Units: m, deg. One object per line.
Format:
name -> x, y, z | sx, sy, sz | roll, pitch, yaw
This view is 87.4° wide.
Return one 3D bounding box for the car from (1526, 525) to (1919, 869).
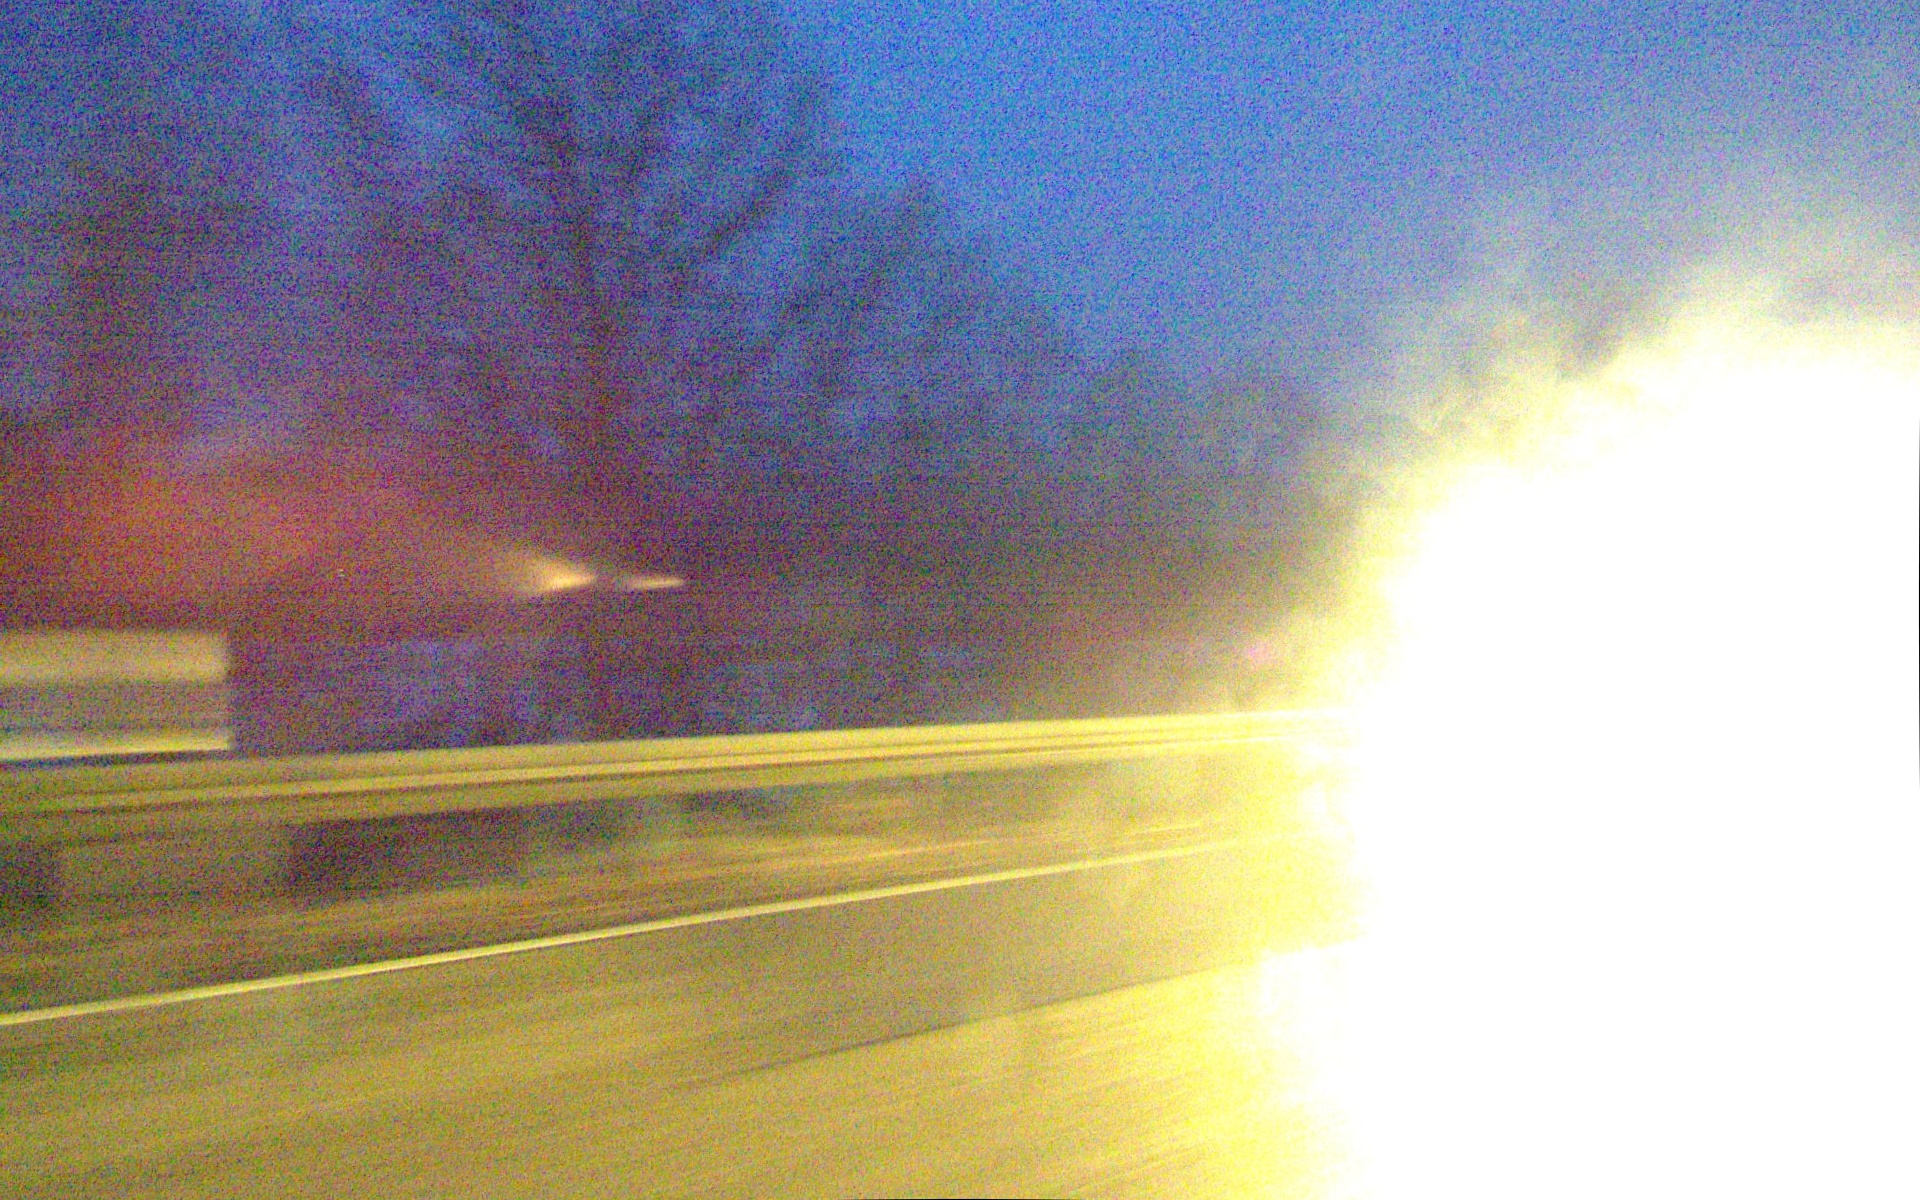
car -> 6.696, 0.631, 7.997 | 4.407, 2.040, 1.983 | 1, -2, -32
